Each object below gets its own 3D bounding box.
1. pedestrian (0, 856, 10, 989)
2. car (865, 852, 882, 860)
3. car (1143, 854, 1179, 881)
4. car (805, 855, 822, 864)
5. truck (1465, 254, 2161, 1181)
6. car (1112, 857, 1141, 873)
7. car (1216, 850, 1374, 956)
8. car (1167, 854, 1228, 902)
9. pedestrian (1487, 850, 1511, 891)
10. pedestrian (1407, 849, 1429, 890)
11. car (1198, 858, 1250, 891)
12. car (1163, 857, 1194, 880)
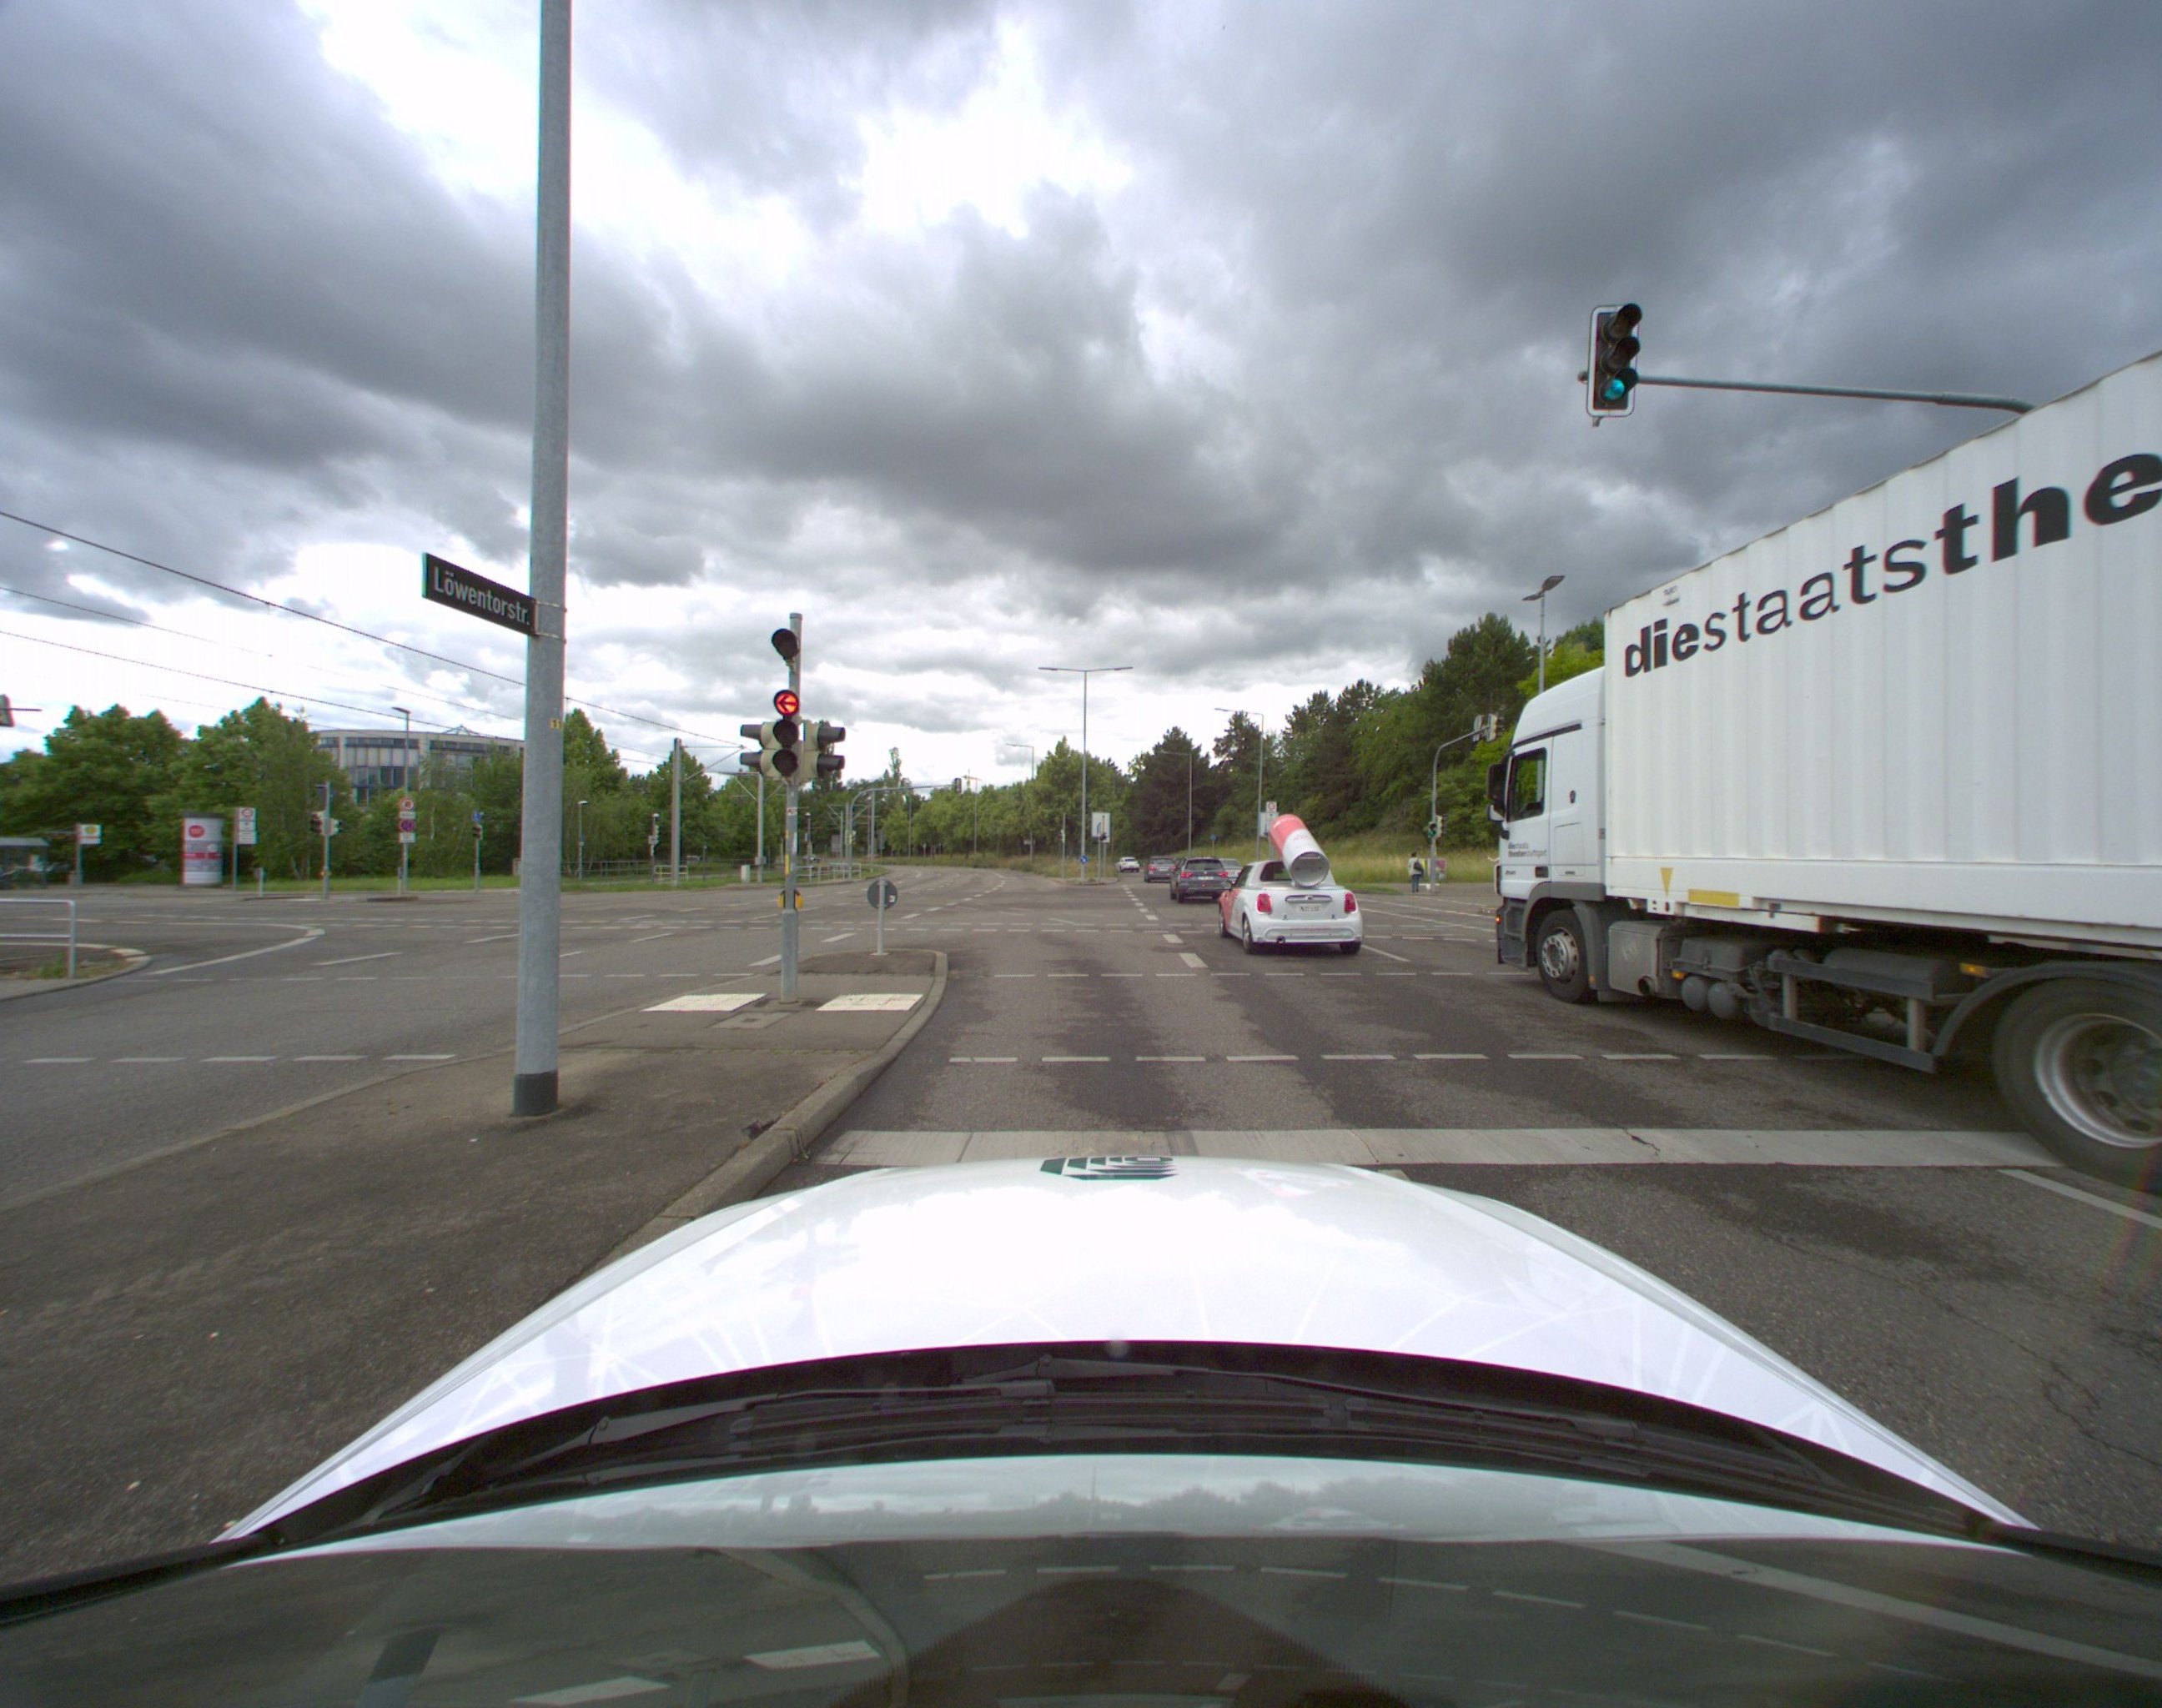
[{"bbox_3d":[-12.819,0.792,9.136,0.632,1.536,0.719,0,-1,-2],"label":"pedestrian"},{"bbox_3d":[-40.700,0.392,159.872,1.799,1.603,3.842,0,-1,-39],"label":"car"},{"bbox_3d":[4.613,0.764,47.324,1.740,1.508,4.049,0,0,1],"label":"car"},{"bbox_3d":[-49.836,1.006,151.589,1.810,1.587,3.954,0,-1,-39],"label":"car"},{"bbox_3d":[6.012,-0.589,5.041,2.792,3.903,10.187,0,0,2],"label":"truck"},{"bbox_3d":[4.382,1.035,78.679,1.844,1.506,4.515,0,-1,-10],"label":"car"},{"bbox_3d":[3.352,0.691,13.430,1.814,1.506,3.496,0,0,2],"label":"car"},{"bbox_3d":[3.900,0.773,27.726,1.618,1.493,3.838,0,0,1],"label":"car"},{"bbox_3d":[16.720,0.666,32.611,0.640,1.612,0.715,0,-1,7],"label":"pedestrian"},{"bbox_3d":[13.842,0.653,33.470,0.640,1.662,0.715,-1,-1,8],"label":"pedestrian"},{"bbox_3d":[6.457,0.889,37.201,1.740,1.382,4.292,0,0,2],"label":"car"},{"bbox_3d":[6.619,0.958,55.487,1.740,1.485,4.358,0,1,2],"label":"car"}]
